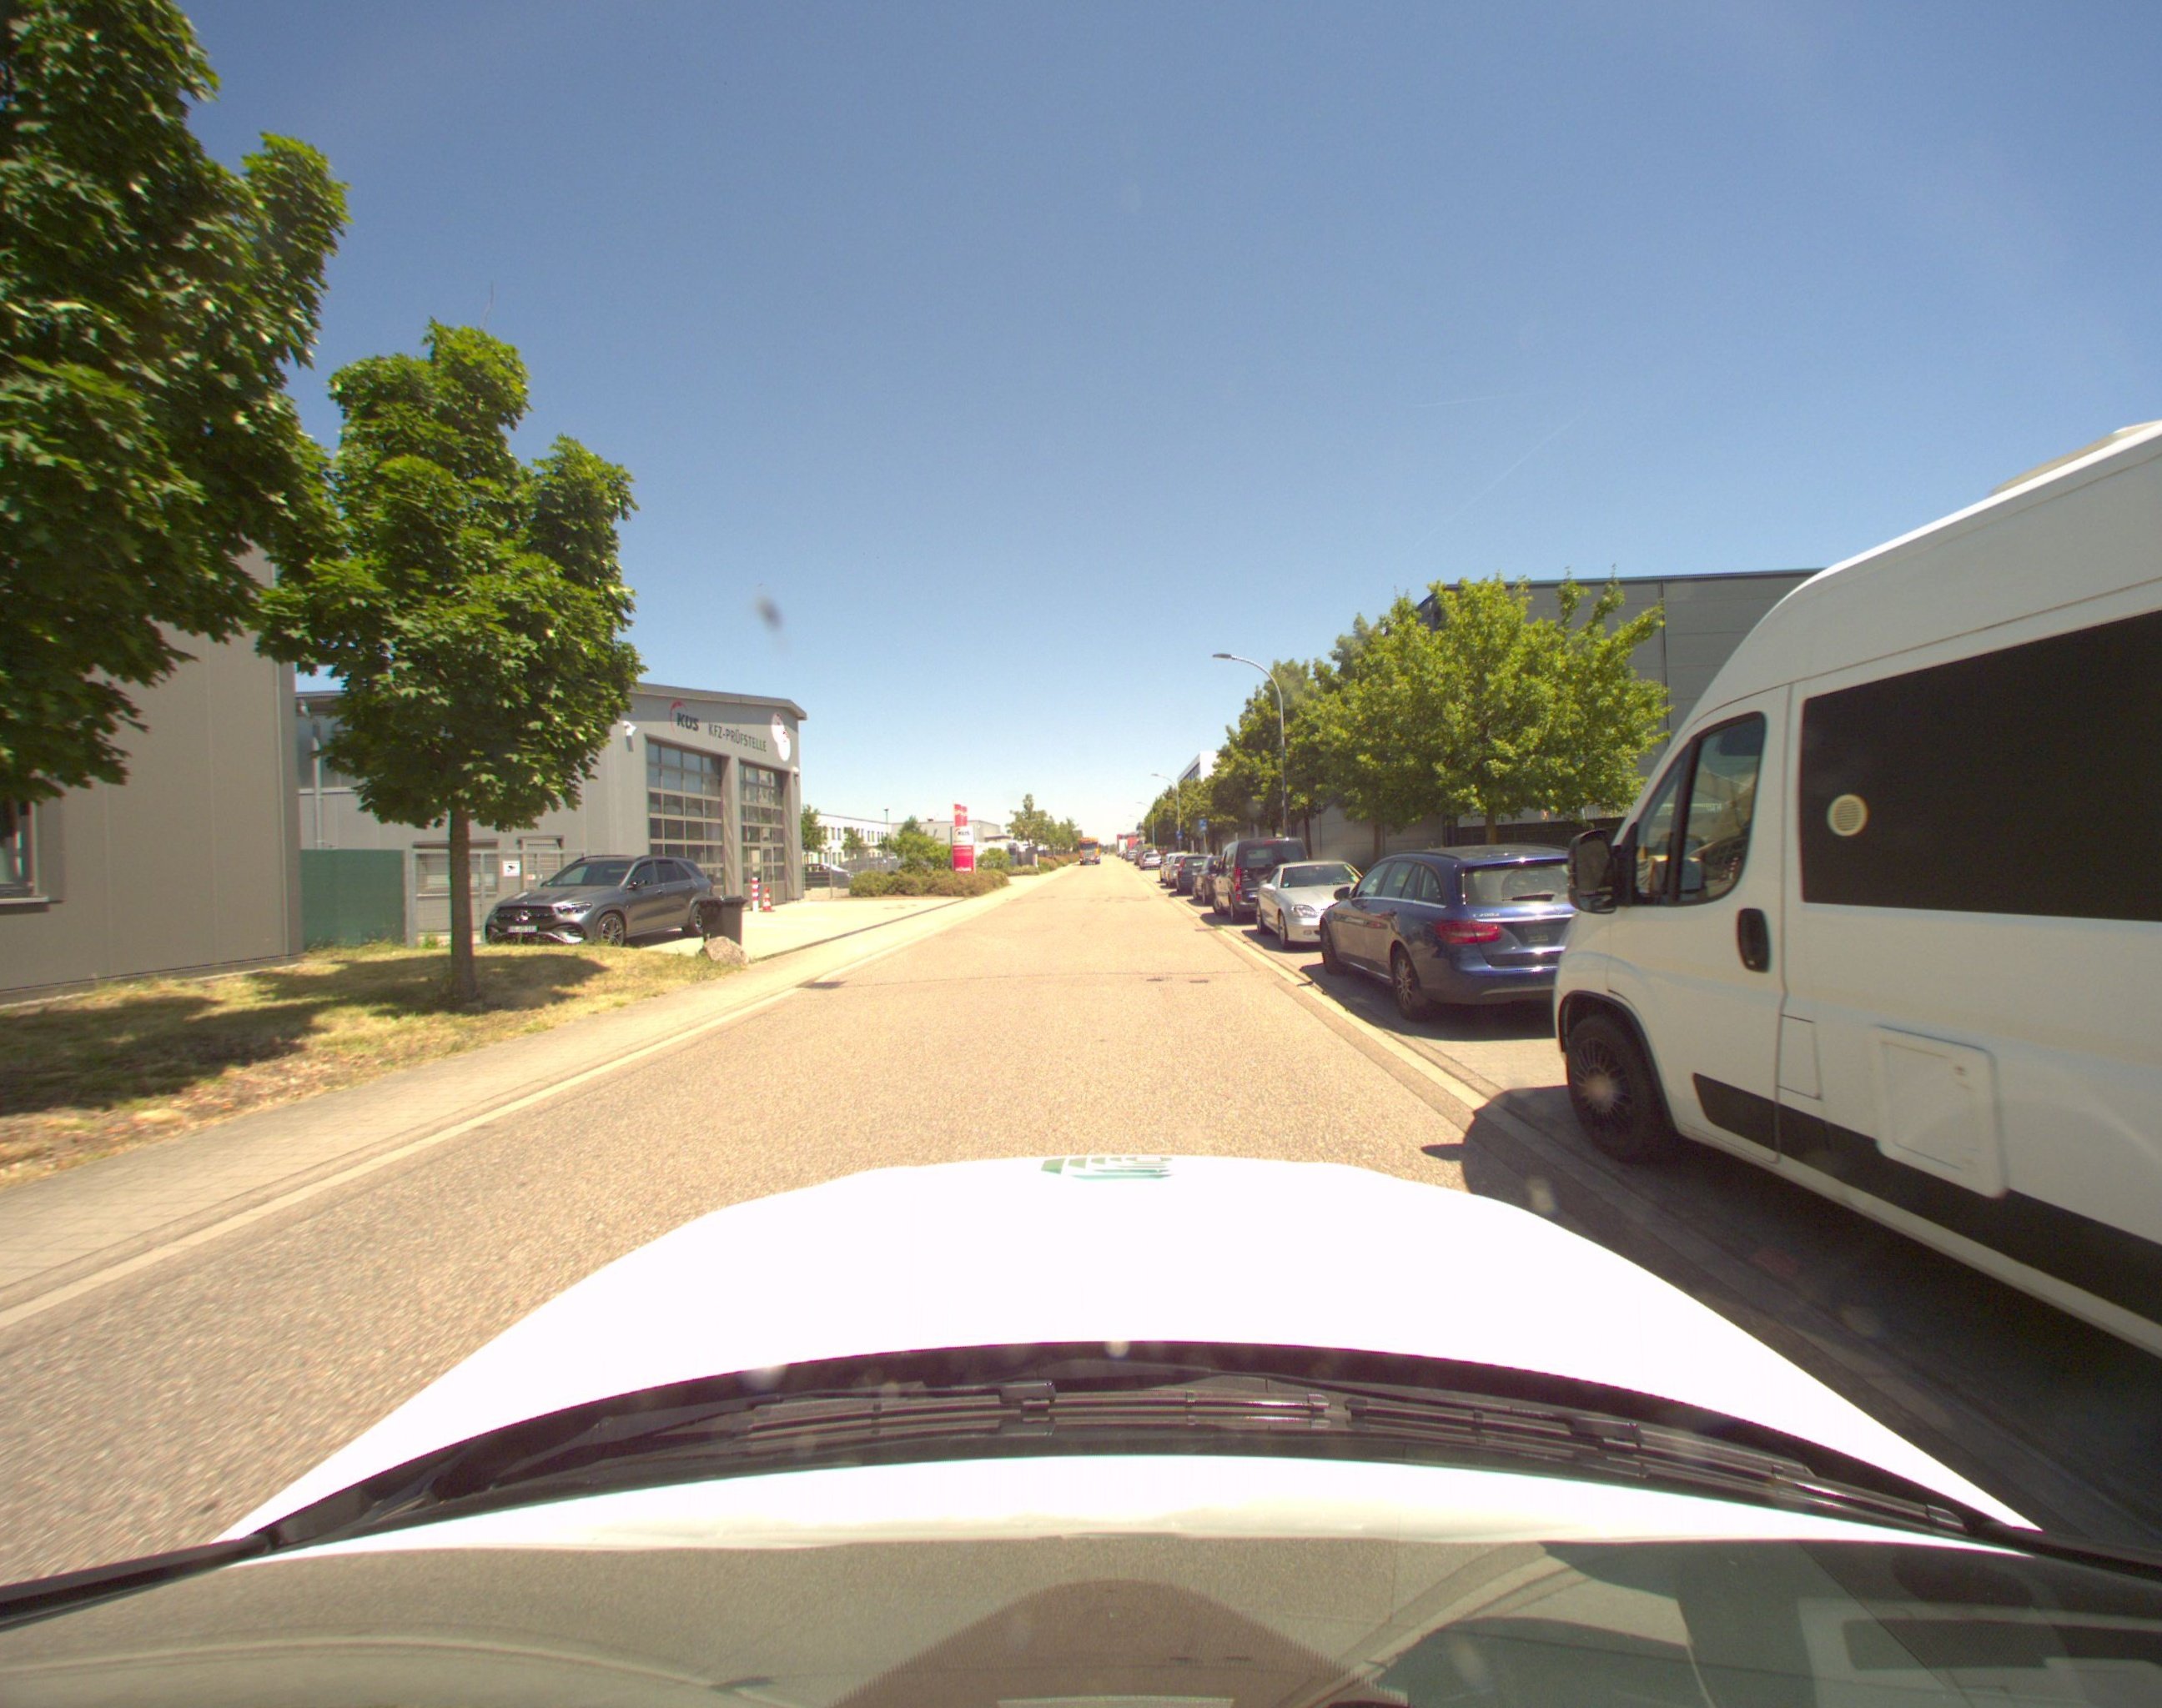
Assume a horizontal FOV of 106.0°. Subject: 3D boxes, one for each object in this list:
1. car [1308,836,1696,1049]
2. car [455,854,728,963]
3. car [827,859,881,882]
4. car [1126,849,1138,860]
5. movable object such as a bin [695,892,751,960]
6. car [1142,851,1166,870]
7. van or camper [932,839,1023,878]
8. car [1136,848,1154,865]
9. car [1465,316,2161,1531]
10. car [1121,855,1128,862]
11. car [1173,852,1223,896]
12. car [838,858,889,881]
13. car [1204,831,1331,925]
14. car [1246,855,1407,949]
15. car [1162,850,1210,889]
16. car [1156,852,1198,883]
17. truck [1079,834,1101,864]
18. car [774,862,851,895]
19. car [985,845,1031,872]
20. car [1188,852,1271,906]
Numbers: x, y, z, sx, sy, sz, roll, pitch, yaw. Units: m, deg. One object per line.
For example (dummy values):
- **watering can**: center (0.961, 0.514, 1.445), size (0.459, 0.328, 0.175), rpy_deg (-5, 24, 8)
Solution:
- **car**: center (3.731, 0.648, 8.271), size (1.820, 1.493, 4.483), rpy_deg (-3, 0, 4)
- **car**: center (-9.188, 0.906, 15.934), size (1.984, 1.735, 4.921), rpy_deg (-1, 1, 6)
- **car**: center (-19.407, 1.412, 69.846), size (3.973, 1.816, 1.917), rpy_deg (-2, 0, 1)
- **car**: center (7.192, 0.101, 115.093), size (1.579, 1.409, 3.502), rpy_deg (-2, 0, 2)
- **movable object such as a bin**: center (-5.986, 1.193, 13.643), size (0.577, 1.065, 0.766), rpy_deg (0, 0, 2)
- **car**: center (6.094, 0.525, 68.098), size (1.711, 1.450, 3.648), rpy_deg (-3, 0, 2)
- **van or camper**: center (-8.868, 0.365, 70.410), size (7.358, 3.037, 2.791), rpy_deg (-2, 0, 1)
- **car**: center (6.725, 0.281, 86.057), size (1.715, 1.694, 3.987), rpy_deg (-2, 0, 3)
- **car**: center (3.361, 0.121, 1.938), size (2.257, 2.497, 6.158), rpy_deg (-3, 0, 4)
- **car**: center (9.632, 0.947, 179.494), size (1.489, 1.409, 3.502), rpy_deg (-2, 0, 2)
- **car**: center (4.463, 0.733, 31.383), size (1.700, 1.504, 4.715), rpy_deg (-3, -1, 7)
- **car**: center (-19.272, 1.396, 72.292), size (3.973, 1.816, 1.917), rpy_deg (-2, 0, 1)
- **car**: center (4.142, 0.506, 18.868), size (1.986, 1.825, 4.355), rpy_deg (-3, -1, 2)
- **car**: center (3.958, 0.721, 13.820), size (1.704, 1.287, 4.119), rpy_deg (-3, -1, 4)
- **car**: center (4.735, 0.638, 37.144), size (1.741, 1.561, 4.509), rpy_deg (-3, 0, 3)
- **car**: center (4.991, 0.666, 42.729), size (1.631, 1.469, 3.745), rpy_deg (-3, 0, 0)
- **truck**: center (1.239, -0.653, 105.027), size (2.439, 3.513, 8.276), rpy_deg (-3, 0, 2)
- **car**: center (-14.207, 1.280, 43.188), size (3.493, 1.552, 1.556), rpy_deg (-2, 0, -3)
- **car**: center (-7.748, 0.492, 86.712), size (4.703, 2.586, 1.998), rpy_deg (-2, 0, -2)
- **car**: center (4.495, 0.722, 25.361), size (1.843, 1.431, 4.715), rpy_deg (-3, -1, 2)
